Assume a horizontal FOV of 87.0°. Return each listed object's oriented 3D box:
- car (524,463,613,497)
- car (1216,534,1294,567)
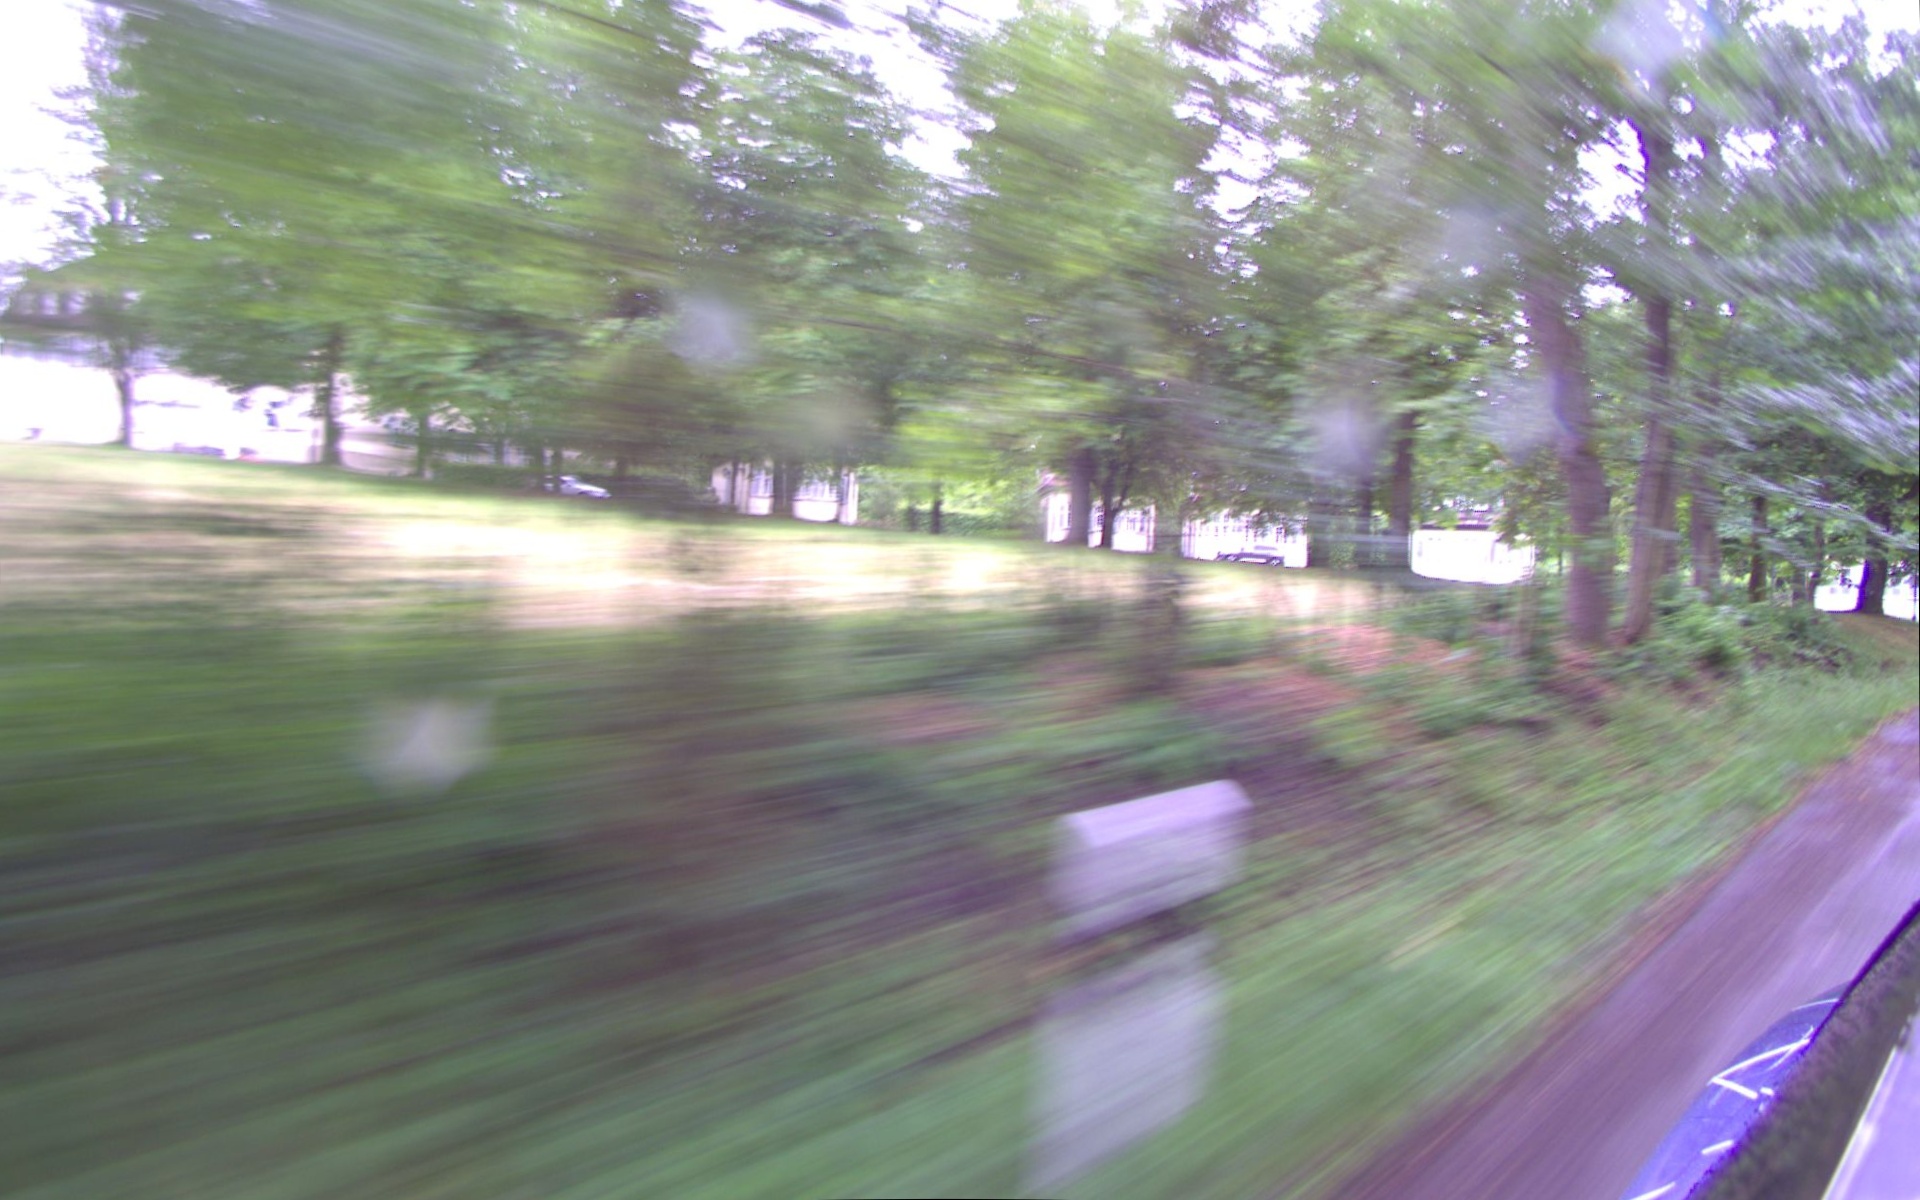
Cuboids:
[{"bbox_3d":[-21.948,-6.733,56.826,4.222,1.444,1.998,5,4,7],"label":"car"},{"bbox_3d":[19.350,-3.228,66.488,4.484,1.858,1.998,3,1,4],"label":"car"}]
